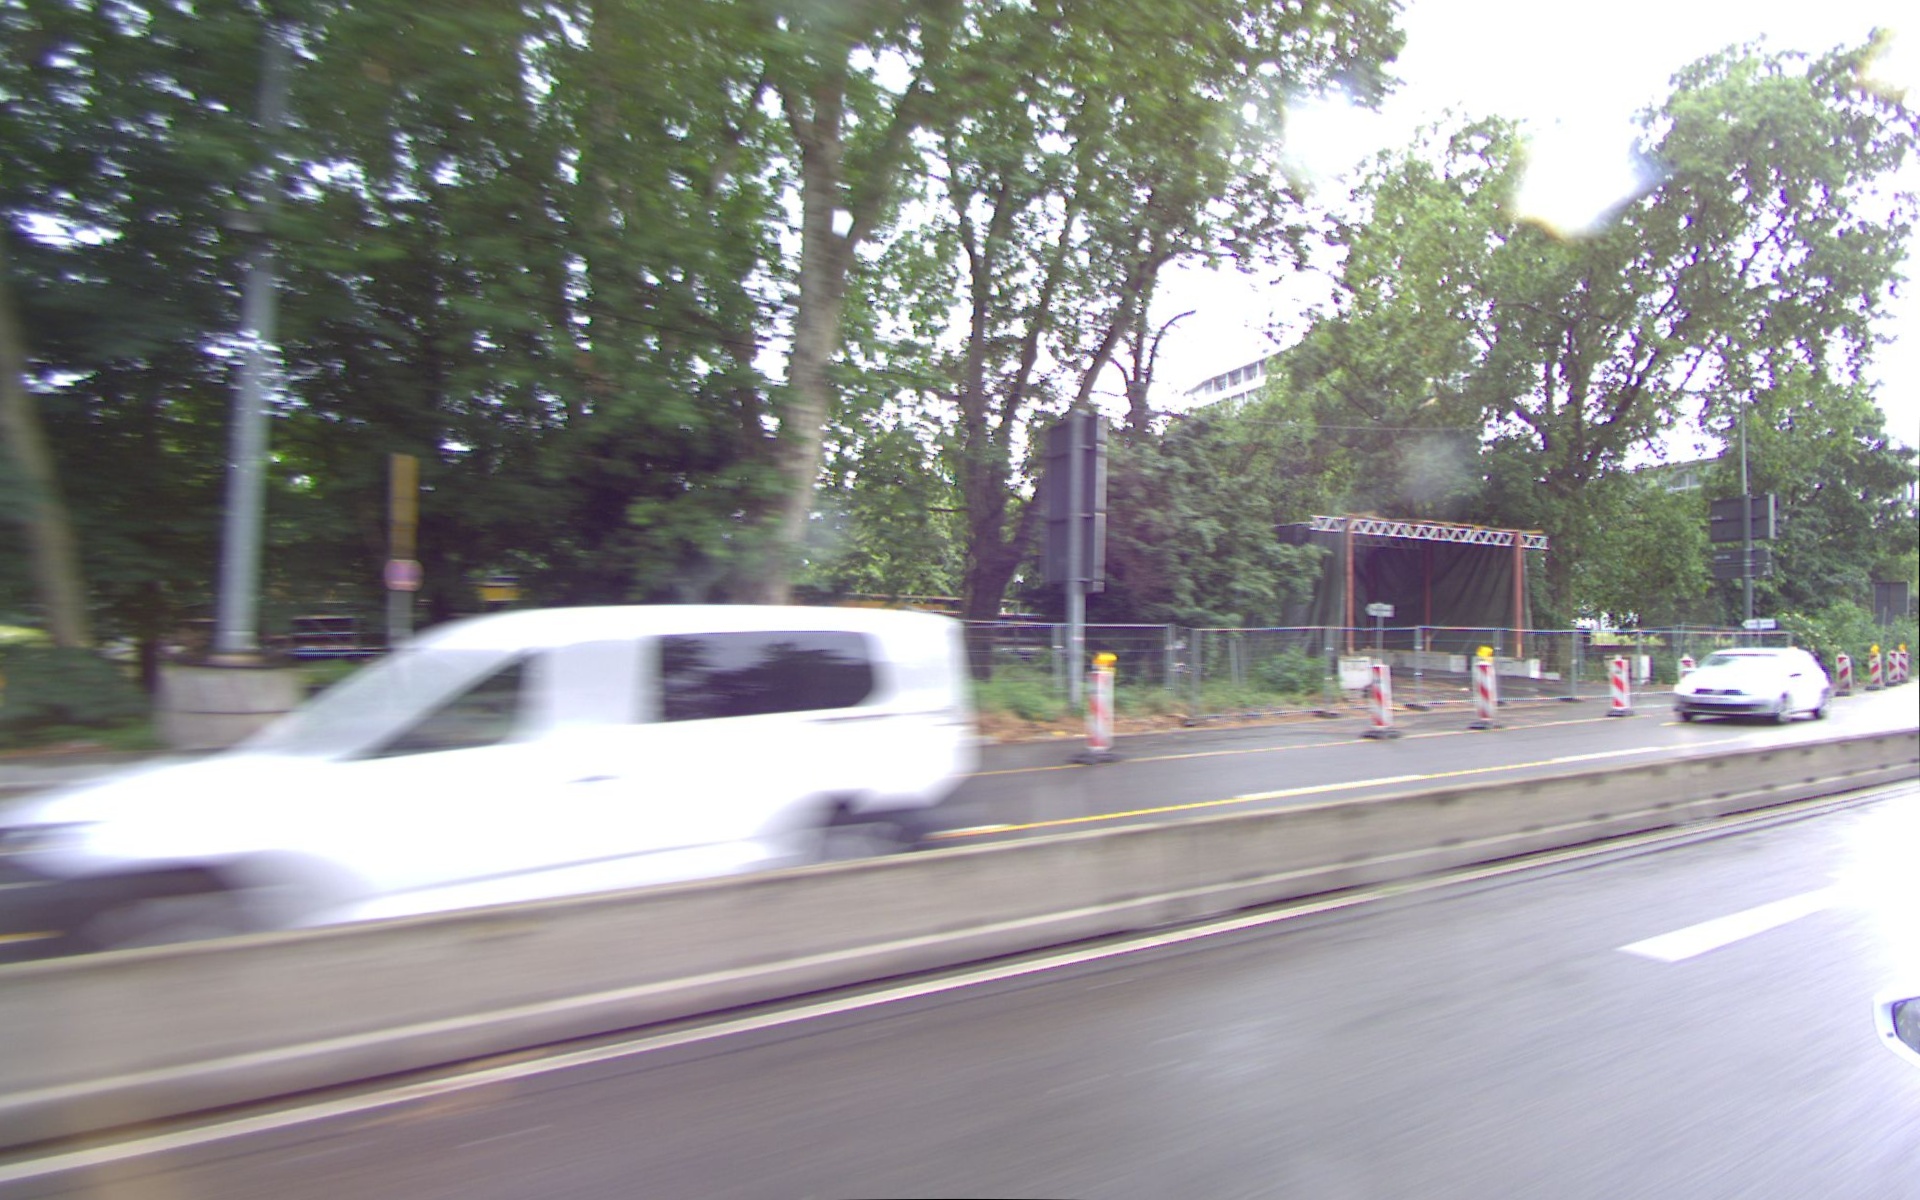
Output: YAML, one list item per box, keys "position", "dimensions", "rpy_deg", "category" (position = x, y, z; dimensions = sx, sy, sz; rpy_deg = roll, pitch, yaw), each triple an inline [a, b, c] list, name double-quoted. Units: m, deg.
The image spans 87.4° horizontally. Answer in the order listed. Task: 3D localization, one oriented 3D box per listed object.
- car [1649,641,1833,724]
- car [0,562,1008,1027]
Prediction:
- position: [16.333, 1.753, 20.967]
  dimensions: [4.049, 1.560, 1.858]
  rpy_deg: [5, -5, -34]
  category: "car"
- position: [-2.237, 0.857, 5.784]
  dimensions: [4.864, 1.674, 2.018]
  rpy_deg: [3, -5, -36]
  category: "car"
